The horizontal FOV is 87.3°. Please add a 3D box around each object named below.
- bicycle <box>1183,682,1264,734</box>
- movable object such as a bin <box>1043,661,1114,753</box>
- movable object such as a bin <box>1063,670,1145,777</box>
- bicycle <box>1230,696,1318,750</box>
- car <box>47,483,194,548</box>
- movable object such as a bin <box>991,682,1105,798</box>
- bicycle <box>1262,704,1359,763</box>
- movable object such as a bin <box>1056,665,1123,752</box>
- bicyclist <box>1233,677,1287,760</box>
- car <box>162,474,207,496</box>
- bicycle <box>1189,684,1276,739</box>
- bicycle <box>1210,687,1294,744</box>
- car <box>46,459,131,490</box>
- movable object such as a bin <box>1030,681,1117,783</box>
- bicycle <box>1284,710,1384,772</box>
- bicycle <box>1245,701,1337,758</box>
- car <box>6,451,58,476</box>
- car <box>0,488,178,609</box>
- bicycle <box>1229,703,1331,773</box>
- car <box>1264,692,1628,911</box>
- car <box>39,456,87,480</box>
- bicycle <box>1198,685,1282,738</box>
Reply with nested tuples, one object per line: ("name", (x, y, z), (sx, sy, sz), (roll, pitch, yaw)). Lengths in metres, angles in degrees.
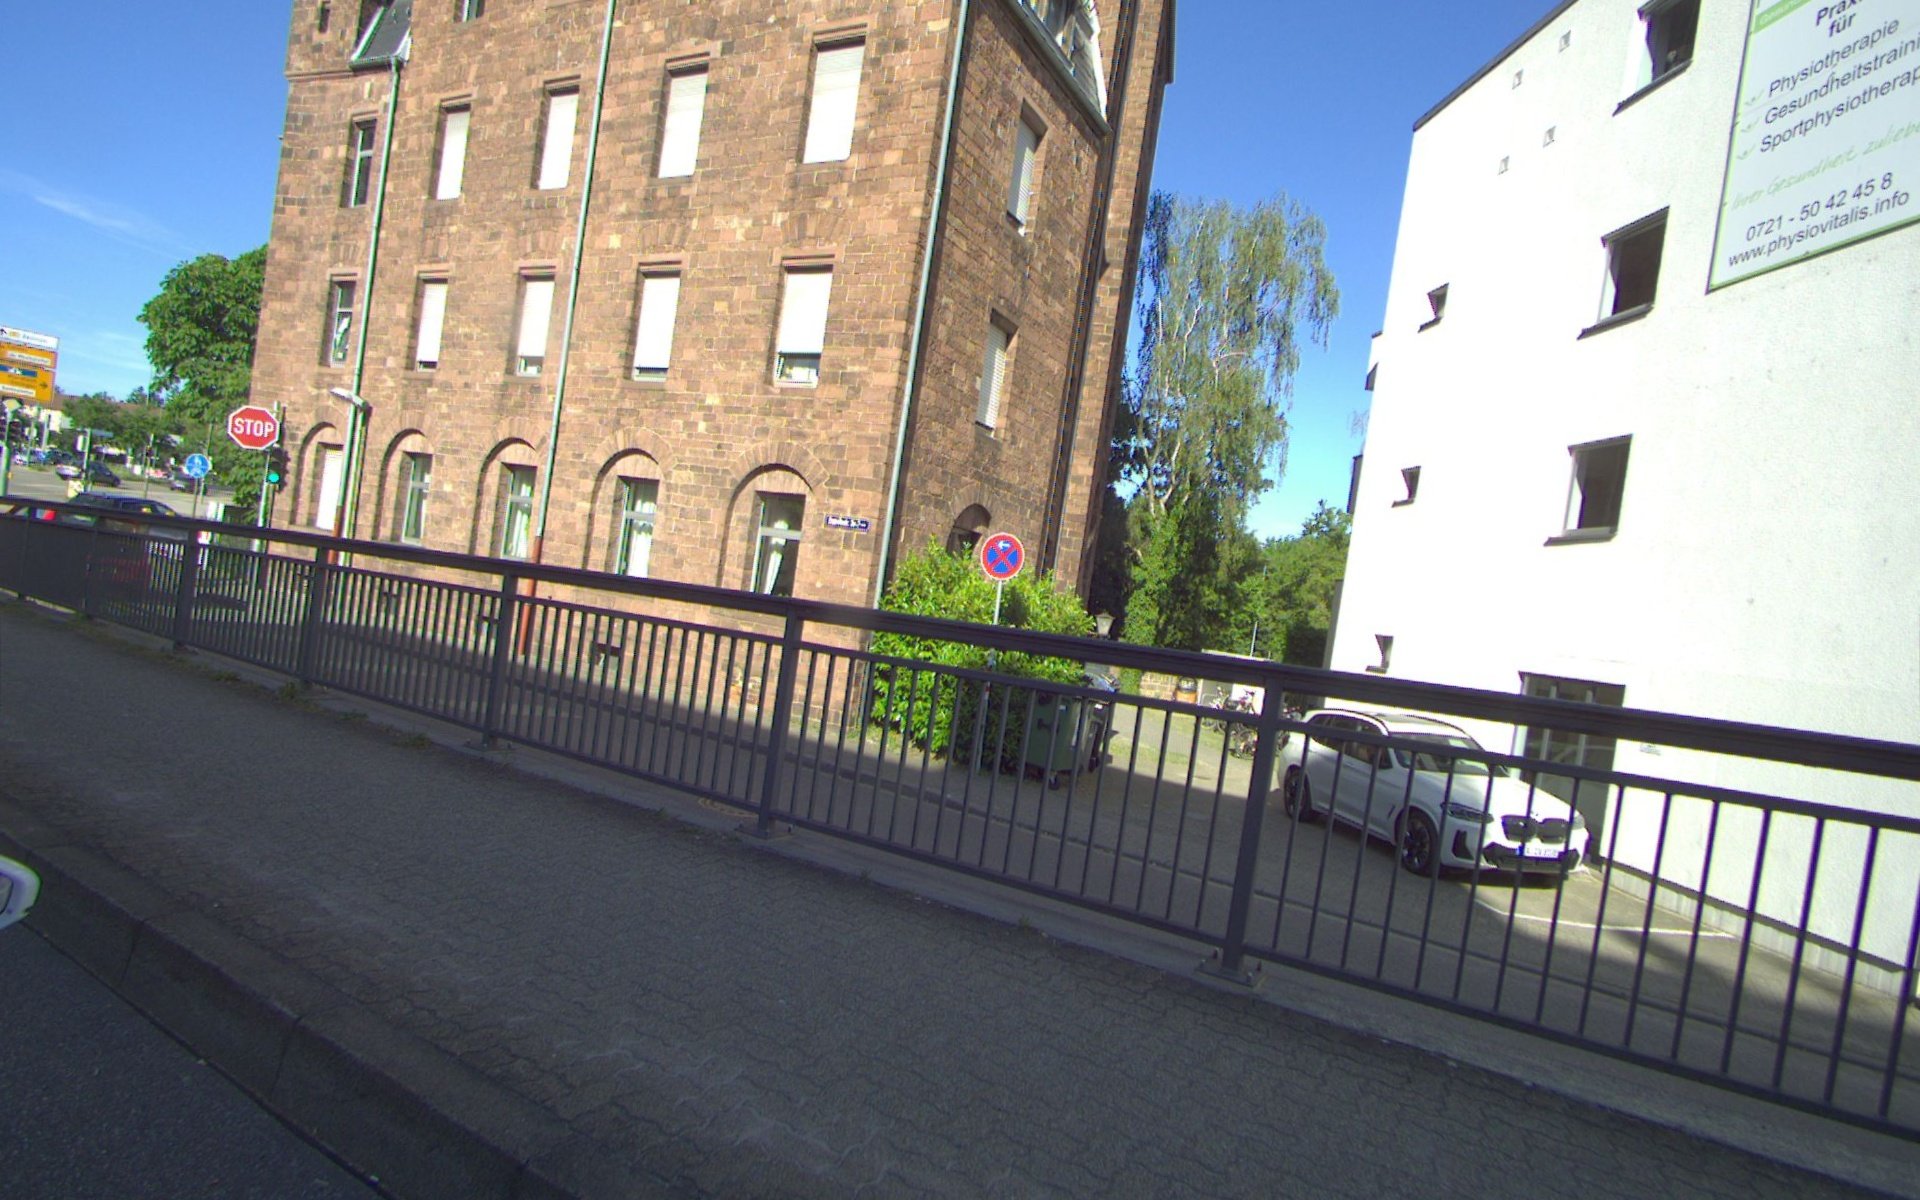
("bicycle", (7.663, 3.139, 29.264), (2.075, 1.174, 0.664), (8, 1, -9))
("movable object such as a bin", (2.284, 2.019, 19.268), (1.009, 1.539, 1.007), (10, 0, 14))
("movable object such as a bin", (2.400, 2.018, 16.661), (1.009, 1.539, 1.007), (10, 0, 14))
("bicycle", (7.868, 3.085, 25.279), (1.889, 1.065, 0.664), (8, 1, -6))
("car", (-28.057, -2.764, 33.820), (1.699, 1.623, 4.288), (10, 0, -10))
("movable object such as a bin", (1.192, 1.853, 13.518), (1.011, 1.307, 1.005), (10, 0, 29))
("bicycle", (8.128, 3.097, 23.363), (1.889, 1.065, 0.664), (8, 1, -6))
("movable object such as a bin", (2.645, 2.185, 20.457), (1.009, 1.539, 1.007), (10, 0, 14))
("bicyclist", (6.494, 2.555, 21.812), (0.685, 1.627, 0.687), (9, 0, -7))
("car", (-67.199, -9.917, 87.255), (1.975, 1.459, 4.266), (8, 2, -24))
("bicycle", (7.405, 3.030, 27.379), (2.075, 1.174, 0.664), (8, 1, -9))
("bicycle", (7.667, 3.028, 26.446), (1.889, 1.174, 0.664), (8, 1, -6))
("car", (-62.569, -8.995, 72.341), (1.965, 1.459, 4.815), (9, 1, -4))
("movable object such as a bin", (1.760, 2.001, 15.480), (1.009, 1.307, 1.007), (10, 0, 14))
("bicycle", (8.333, 3.141, 22.449), (1.889, 1.065, 0.664), (8, 1, -6))
("bicycle", (7.973, 3.117, 24.251), (1.889, 1.065, 0.664), (8, 1, -6))
("car", (-79.897, -11.733, 86.643), (1.860, 1.598, 3.978), (8, 1, -22))
("car", (-15.534, -0.939, 17.600), (3.427, 1.540, 1.724), (10, 1, 32))
("bicycle", (6.777, 2.918, 21.345), (1.807, 1.155, 0.688), (8, 2, -8))
("car", (5.969, 2.406, 13.137), (1.814, 1.707, 4.521), (8, 0, -9))
("car", (-82.316, -12.096, 92.345), (1.860, 1.598, 3.978), (8, 1, -22))
("bicycle", (7.907, 3.138, 28.412), (2.075, 1.174, 0.664), (8, 1, -9))
